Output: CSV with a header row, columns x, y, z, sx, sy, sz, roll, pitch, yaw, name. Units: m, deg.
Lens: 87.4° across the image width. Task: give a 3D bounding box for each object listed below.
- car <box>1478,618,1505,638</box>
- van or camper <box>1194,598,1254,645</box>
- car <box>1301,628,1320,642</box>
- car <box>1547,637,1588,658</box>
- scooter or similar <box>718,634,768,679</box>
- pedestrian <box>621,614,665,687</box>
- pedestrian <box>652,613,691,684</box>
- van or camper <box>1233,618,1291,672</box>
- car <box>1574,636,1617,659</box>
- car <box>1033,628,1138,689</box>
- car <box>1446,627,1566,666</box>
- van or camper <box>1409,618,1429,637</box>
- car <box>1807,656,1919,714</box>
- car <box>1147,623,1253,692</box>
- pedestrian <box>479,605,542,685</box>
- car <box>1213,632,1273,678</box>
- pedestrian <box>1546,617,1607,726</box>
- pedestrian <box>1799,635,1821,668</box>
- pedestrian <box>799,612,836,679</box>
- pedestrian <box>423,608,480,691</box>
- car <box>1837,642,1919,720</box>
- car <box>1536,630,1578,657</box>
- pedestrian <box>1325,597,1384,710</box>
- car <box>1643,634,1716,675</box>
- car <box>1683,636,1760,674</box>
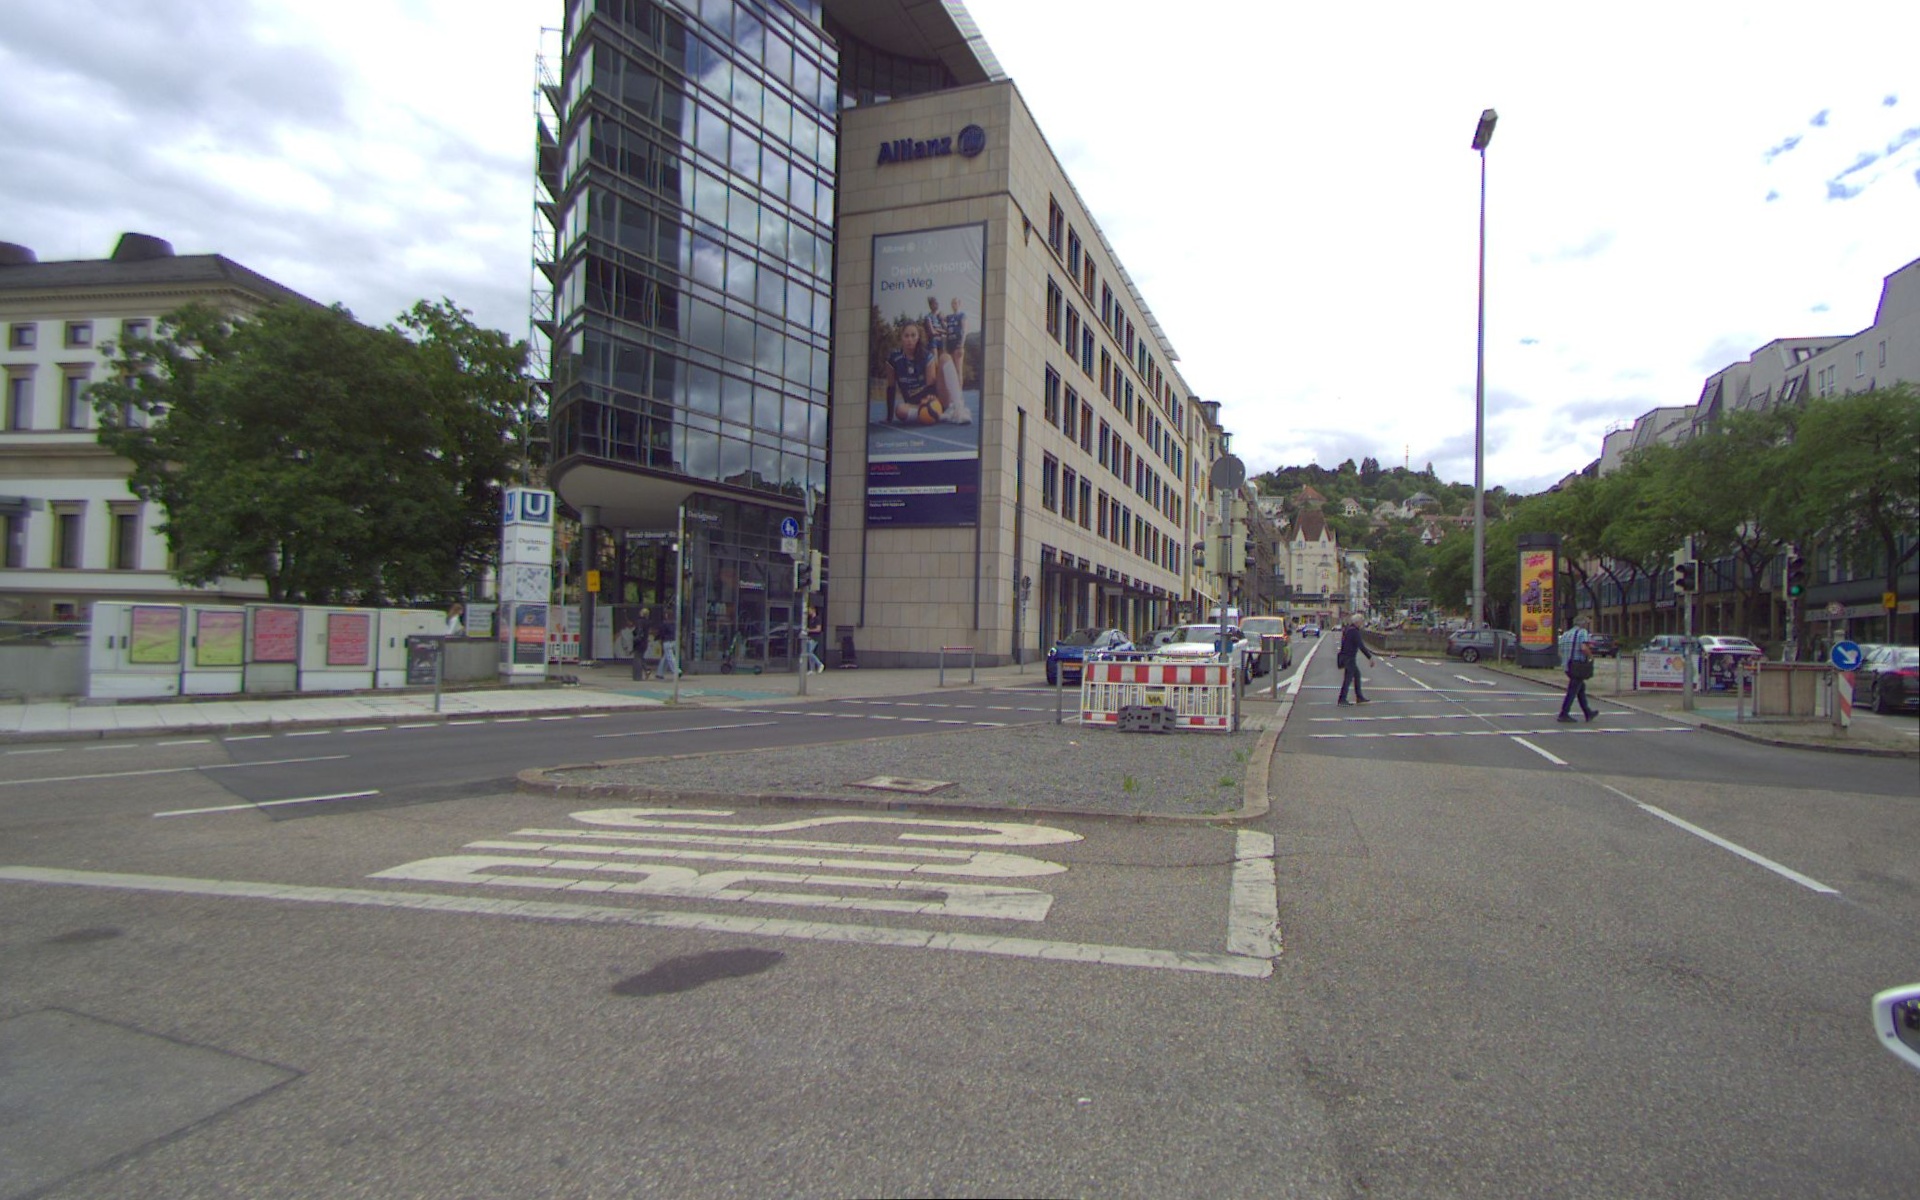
x,y,z,sx,sy,sz,roll,pitch,yaw,name
51.814,2.702,97.925,1.802,1.899,4.870,0,-2,22,car
16.619,1.352,63.013,2.953,2.762,6.246,1,-1,21,van or camper
42.001,4.220,120.555,1.886,1.547,4.544,1,-1,16,car
45.560,3.540,75.444,2.023,1.437,4.332,0,-2,23,car
-6.184,1.607,28.679,1.361,1.224,0.532,2,-1,-11,scooter or similar
-7.735,1.218,24.484,0.755,1.723,0.632,1,-1,25,pedestrian
-7.217,1.208,25.149,0.632,1.723,0.632,1,-1,25,pedestrian
11.864,1.716,39.250,1.881,1.947,5.084,0,-2,20,van or camper
39.431,2.935,62.383,1.803,1.381,3.764,0,-2,25,car
3.636,1.601,28.430,1.961,1.545,4.090,1,-1,22,car
23.632,2.004,43.615,4.483,1.478,1.878,1,-1,29,car
80.111,4.728,175.406,2.584,3.220,5.803,1,-1,21,van or camper
28.629,2.637,31.794,1.805,1.451,4.142,2,0,27,car
6.403,1.460,26.481,1.708,1.619,4.313,0,-2,28,car
-9.585,0.968,21.442,0.646,1.634,0.960,1,-4,44,pedestrian
9.301,1.751,32.865,1.531,1.397,3.632,0,-2,22,car
10.505,1.210,17.139,0.704,1.814,0.634,-2,-1,20,pedestrian
47.658,2.882,56.345,0.585,1.777,0.941,1,-1,15,pedestrian
-3.995,1.280,28.223,0.915,1.834,0.696,1,-1,-4,pedestrian
-10.724,1.052,21.187,0.597,1.652,0.782,6,0,44,pedestrian
20.161,1.679,21.174,1.807,1.414,4.138,2,0,32,car
37.108,2.672,62.480,1.803,1.587,3.765,0,-2,24,car
7.856,1.055,20.039,0.861,2.201,0.763,1,-1,3,pedestrian
28.839,2.139,40.380,1.804,1.537,3.763,0,-2,27,car
32.858,2.346,43.447,1.803,1.537,3.765,0,-2,24,car
